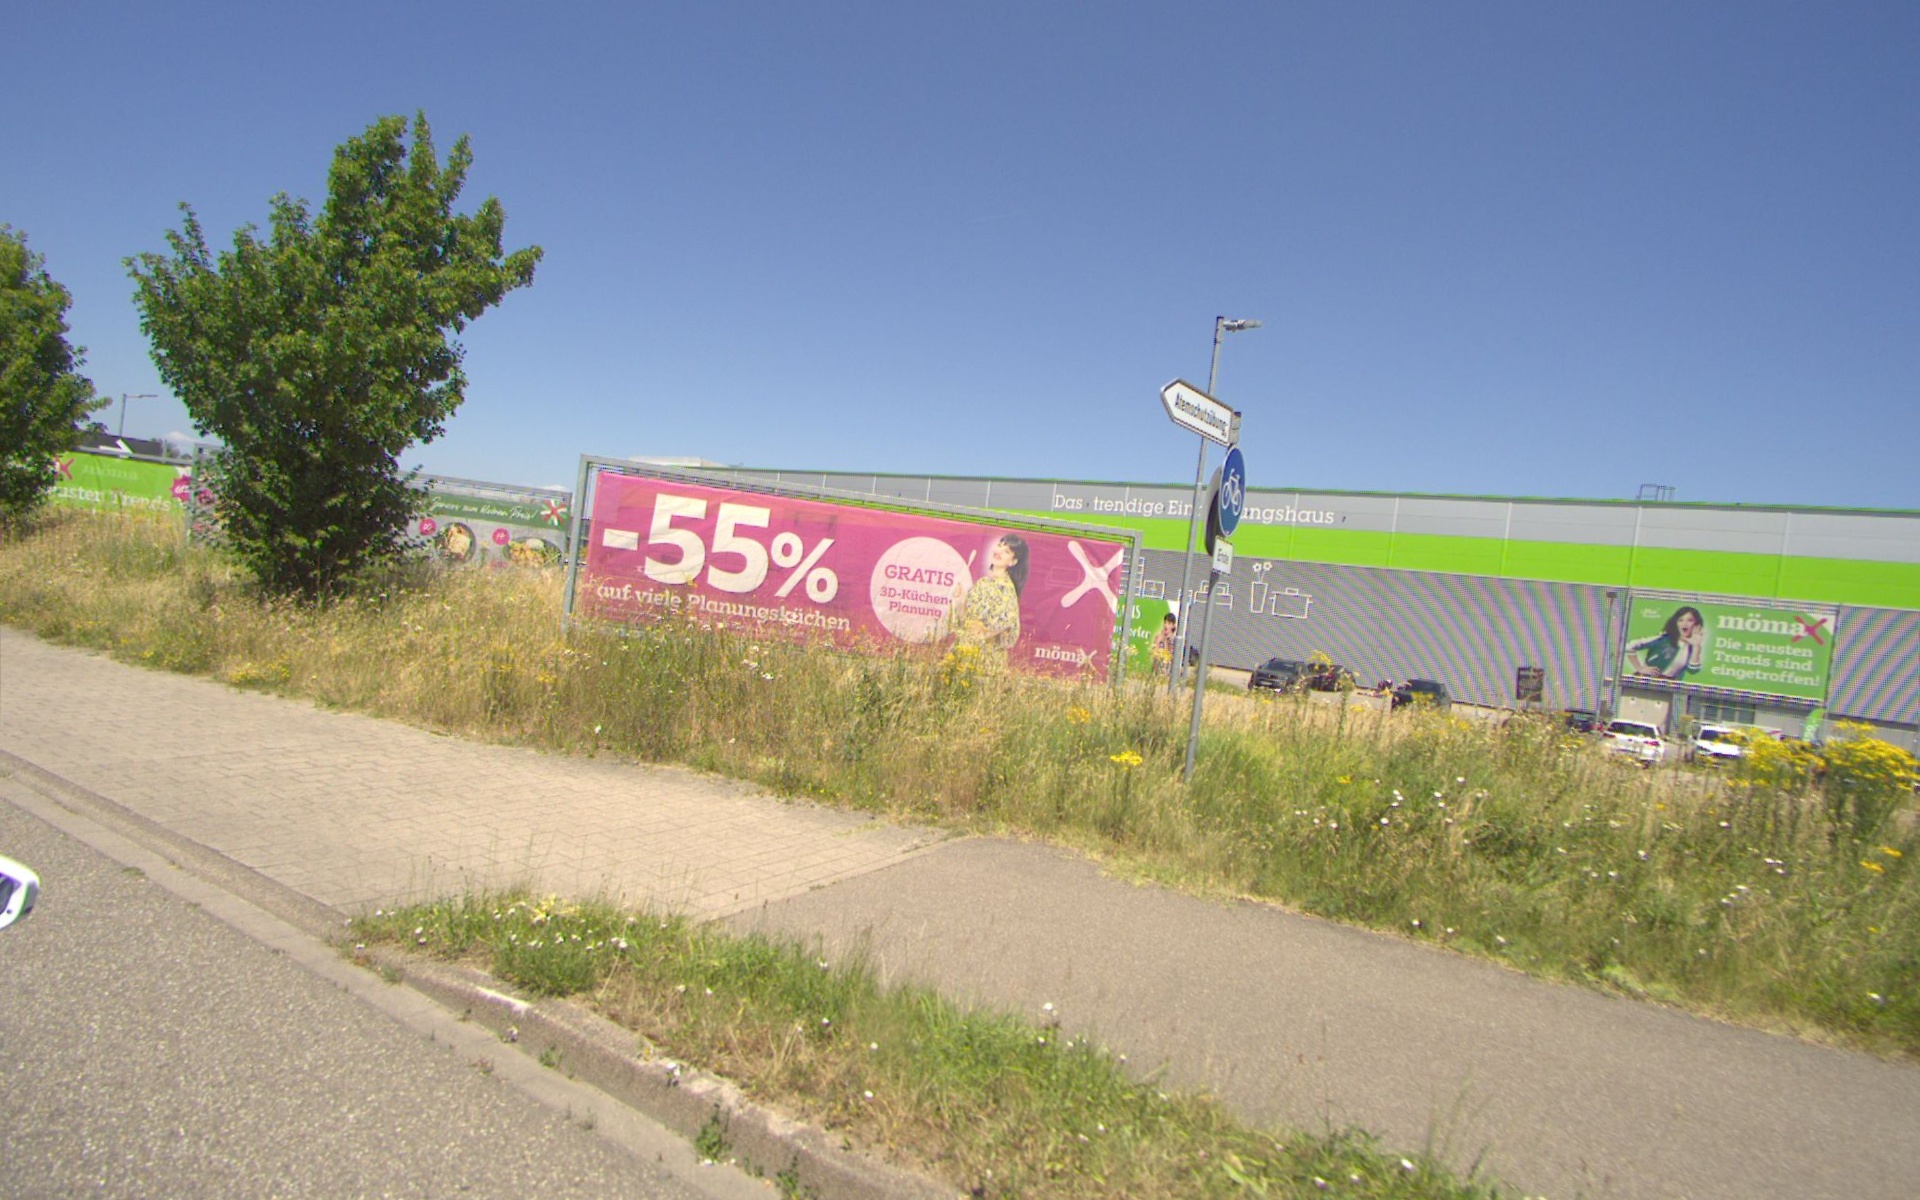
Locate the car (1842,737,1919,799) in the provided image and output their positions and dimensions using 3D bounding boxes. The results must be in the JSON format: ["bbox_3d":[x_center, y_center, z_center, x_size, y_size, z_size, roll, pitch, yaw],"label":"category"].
[{"bbox_3d":[30.815,5.545,33.351,1.918,1.524,3.984,7,1,37],"label":"car"}]

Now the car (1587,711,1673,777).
[{"bbox_3d":[21.357,4.504,31.985,1.918,1.550,3.984,7,1,37],"label":"car"}]

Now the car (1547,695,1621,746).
[{"bbox_3d":[23.814,4.537,38.314,1.918,1.524,3.984,7,1,37],"label":"car"}]

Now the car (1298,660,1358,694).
[{"bbox_3d":[20.308,4.231,55.397,1.968,1.538,4.653,6,0,34],"label":"car"}]

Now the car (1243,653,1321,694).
[{"bbox_3d":[14.745,3.373,45.969,1.970,1.538,4.405,6,0,37],"label":"car"}]

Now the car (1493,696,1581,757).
[{"bbox_3d":[19.120,4.122,33.261,1.918,1.550,3.984,7,1,37],"label":"car"}]

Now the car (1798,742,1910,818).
[{"bbox_3d":[25.409,5.049,28.727,1.918,1.480,3.984,7,1,37],"label":"car"}]

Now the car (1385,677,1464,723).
[{"bbox_3d":[19.214,4.103,41.540,1.970,1.538,4.405,6,0,37],"label":"car"}]

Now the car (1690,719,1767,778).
[{"bbox_3d":[27.051,5.186,35.459,1.918,1.524,3.984,7,1,37],"label":"car"}]
